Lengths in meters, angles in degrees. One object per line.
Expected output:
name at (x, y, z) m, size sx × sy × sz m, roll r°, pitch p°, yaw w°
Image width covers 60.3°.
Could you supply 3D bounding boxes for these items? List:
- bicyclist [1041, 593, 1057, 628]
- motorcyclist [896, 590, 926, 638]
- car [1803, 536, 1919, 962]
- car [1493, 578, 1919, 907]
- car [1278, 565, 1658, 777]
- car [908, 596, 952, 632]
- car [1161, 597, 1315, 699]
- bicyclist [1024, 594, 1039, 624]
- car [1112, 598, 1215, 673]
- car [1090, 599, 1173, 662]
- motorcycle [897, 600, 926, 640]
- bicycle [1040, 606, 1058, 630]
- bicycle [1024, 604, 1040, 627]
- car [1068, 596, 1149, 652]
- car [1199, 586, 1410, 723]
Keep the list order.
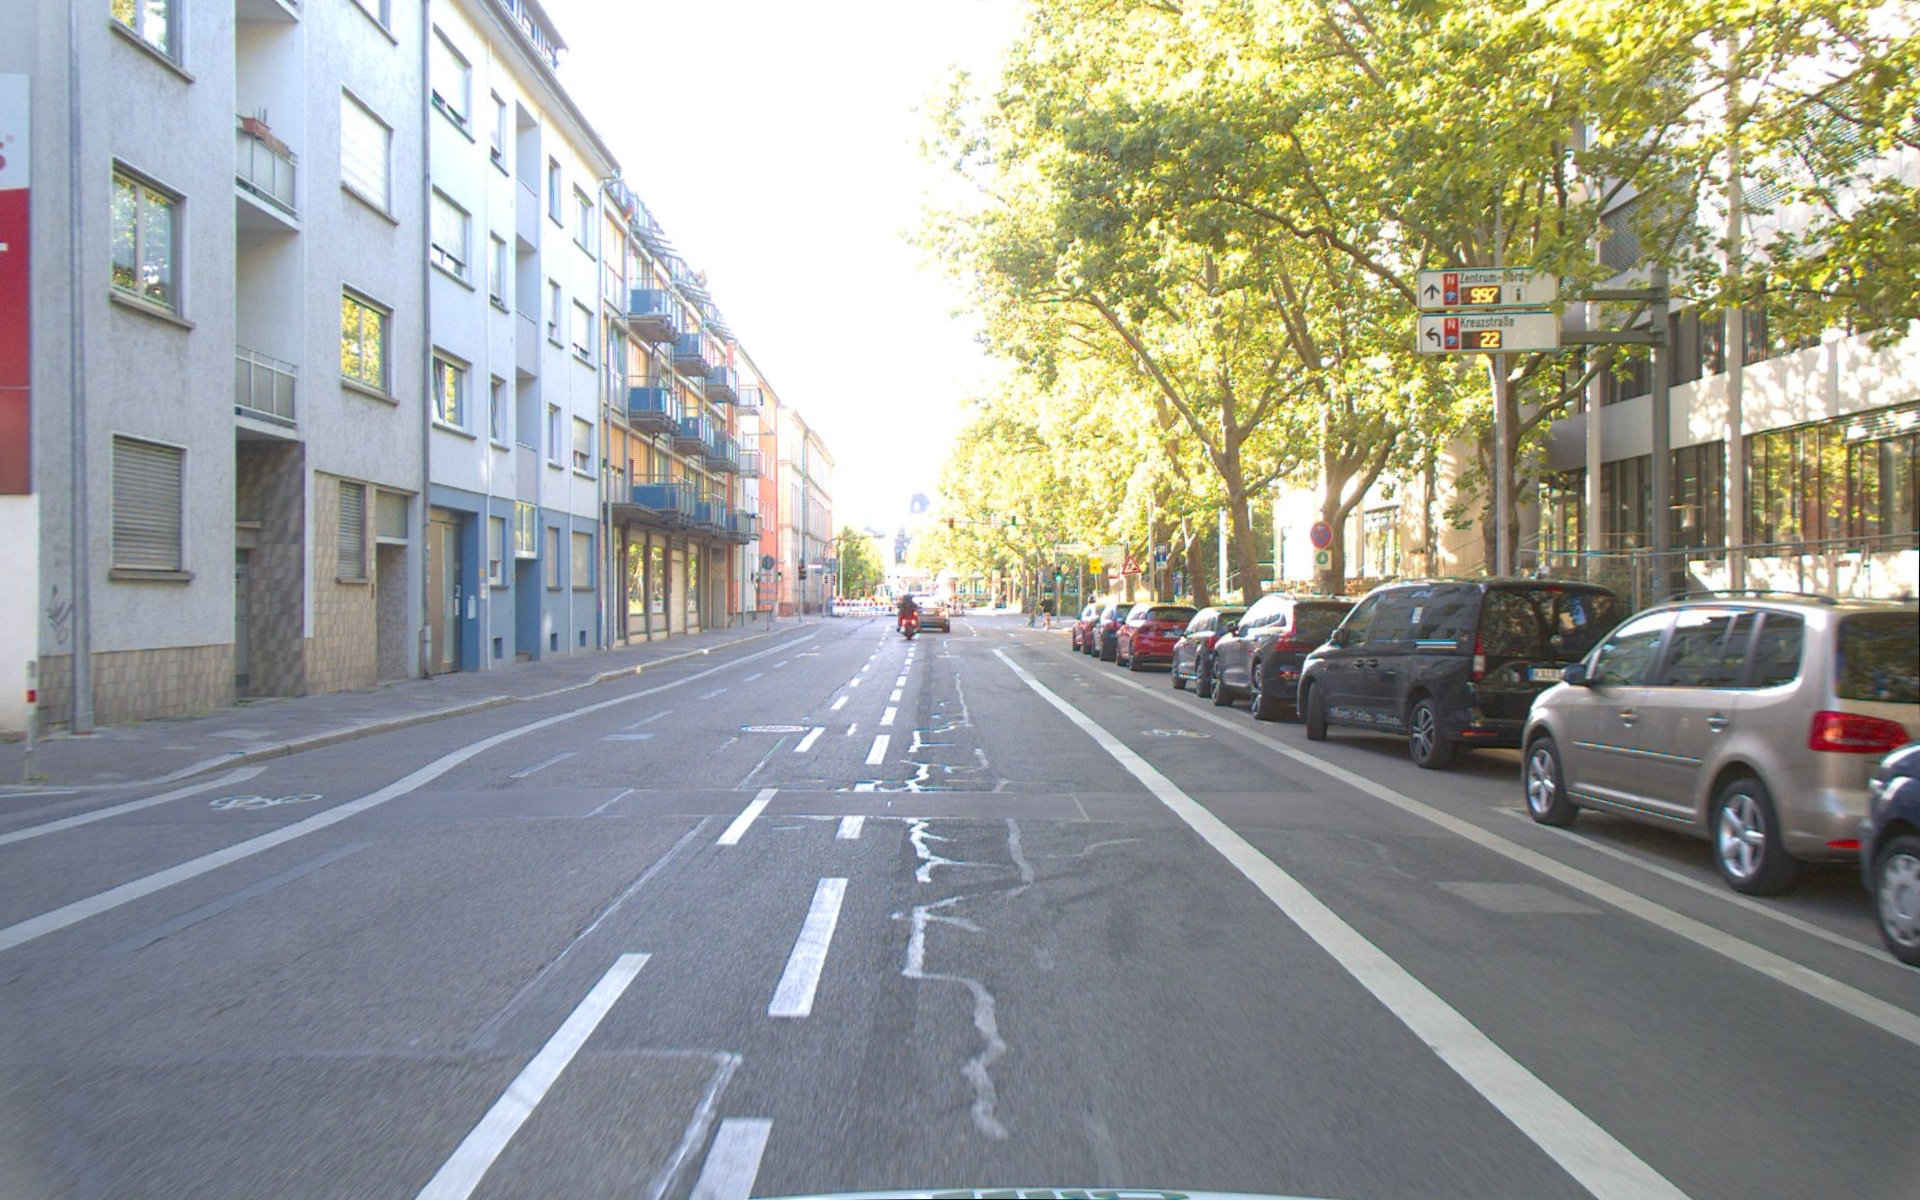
bicyclist at (4.101, 0.489, 76.252) m, size 0.643 × 1.557 × 0.851 m, roll 1°, pitch -1°, yaw -2°
motorcyclist at (-1.703, 0.483, 57.479) m, size 0.992 × 1.630 × 1.405 m, roll 0°, pitch 0°, yaw -2°
car at (4.992, 0.672, 6.068) m, size 1.658 × 1.844 × 4.130 m, roll 2°, pitch 0°, yaw 0°
car at (5.071, 0.736, 10.611) m, size 1.659 × 1.656 × 4.327 m, roll 2°, pitch 0°, yaw -3°
car at (5.065, 0.632, 17.339) m, size 1.791 × 1.873 × 4.889 m, roll 2°, pitch 0°, yaw -9°
car at (-1.261, 0.566, 68.560) m, size 1.791 × 1.445 × 3.813 m, roll 0°, pitch 0°, yaw -2°
car at (4.587, 0.745, 27.850) m, size 1.659 × 1.530 × 4.017 m, roll 2°, pitch 0°, yaw -3°
bicyclist at (3.683, 0.464, 85.111) m, size 0.643 × 1.557 × 0.906 m, roll 1°, pitch -1°, yaw -2°
car at (4.505, 0.750, 37.139) m, size 1.658 × 1.505 × 4.317 m, roll 2°, pitch 0°, yaw -1°
car at (4.377, 0.745, 42.662) m, size 1.658 × 1.492 × 4.065 m, roll 2°, pitch 0°, yaw 0°
motorcycle at (-1.686, 0.672, 57.287) m, size 0.992 × 1.329 × 2.671 m, roll 0°, pitch 0°, yaw -2°
bicycle at (4.095, 0.835, 76.277) m, size 0.643 × 1.089 × 1.926 m, roll 1°, pitch 0°, yaw -2°
bicycle at (3.679, 0.788, 85.046) m, size 0.643 × 1.131 × 2.185 m, roll 1°, pitch 0°, yaw -2°
car at (4.210, 0.660, 47.510) m, size 1.659 × 1.475 × 4.433 m, roll 2°, pitch 0°, yaw -3°
car at (4.646, 0.679, 23.019) m, size 1.740 × 1.656 × 4.618 m, roll 2°, pitch 0°, yaw -3°
